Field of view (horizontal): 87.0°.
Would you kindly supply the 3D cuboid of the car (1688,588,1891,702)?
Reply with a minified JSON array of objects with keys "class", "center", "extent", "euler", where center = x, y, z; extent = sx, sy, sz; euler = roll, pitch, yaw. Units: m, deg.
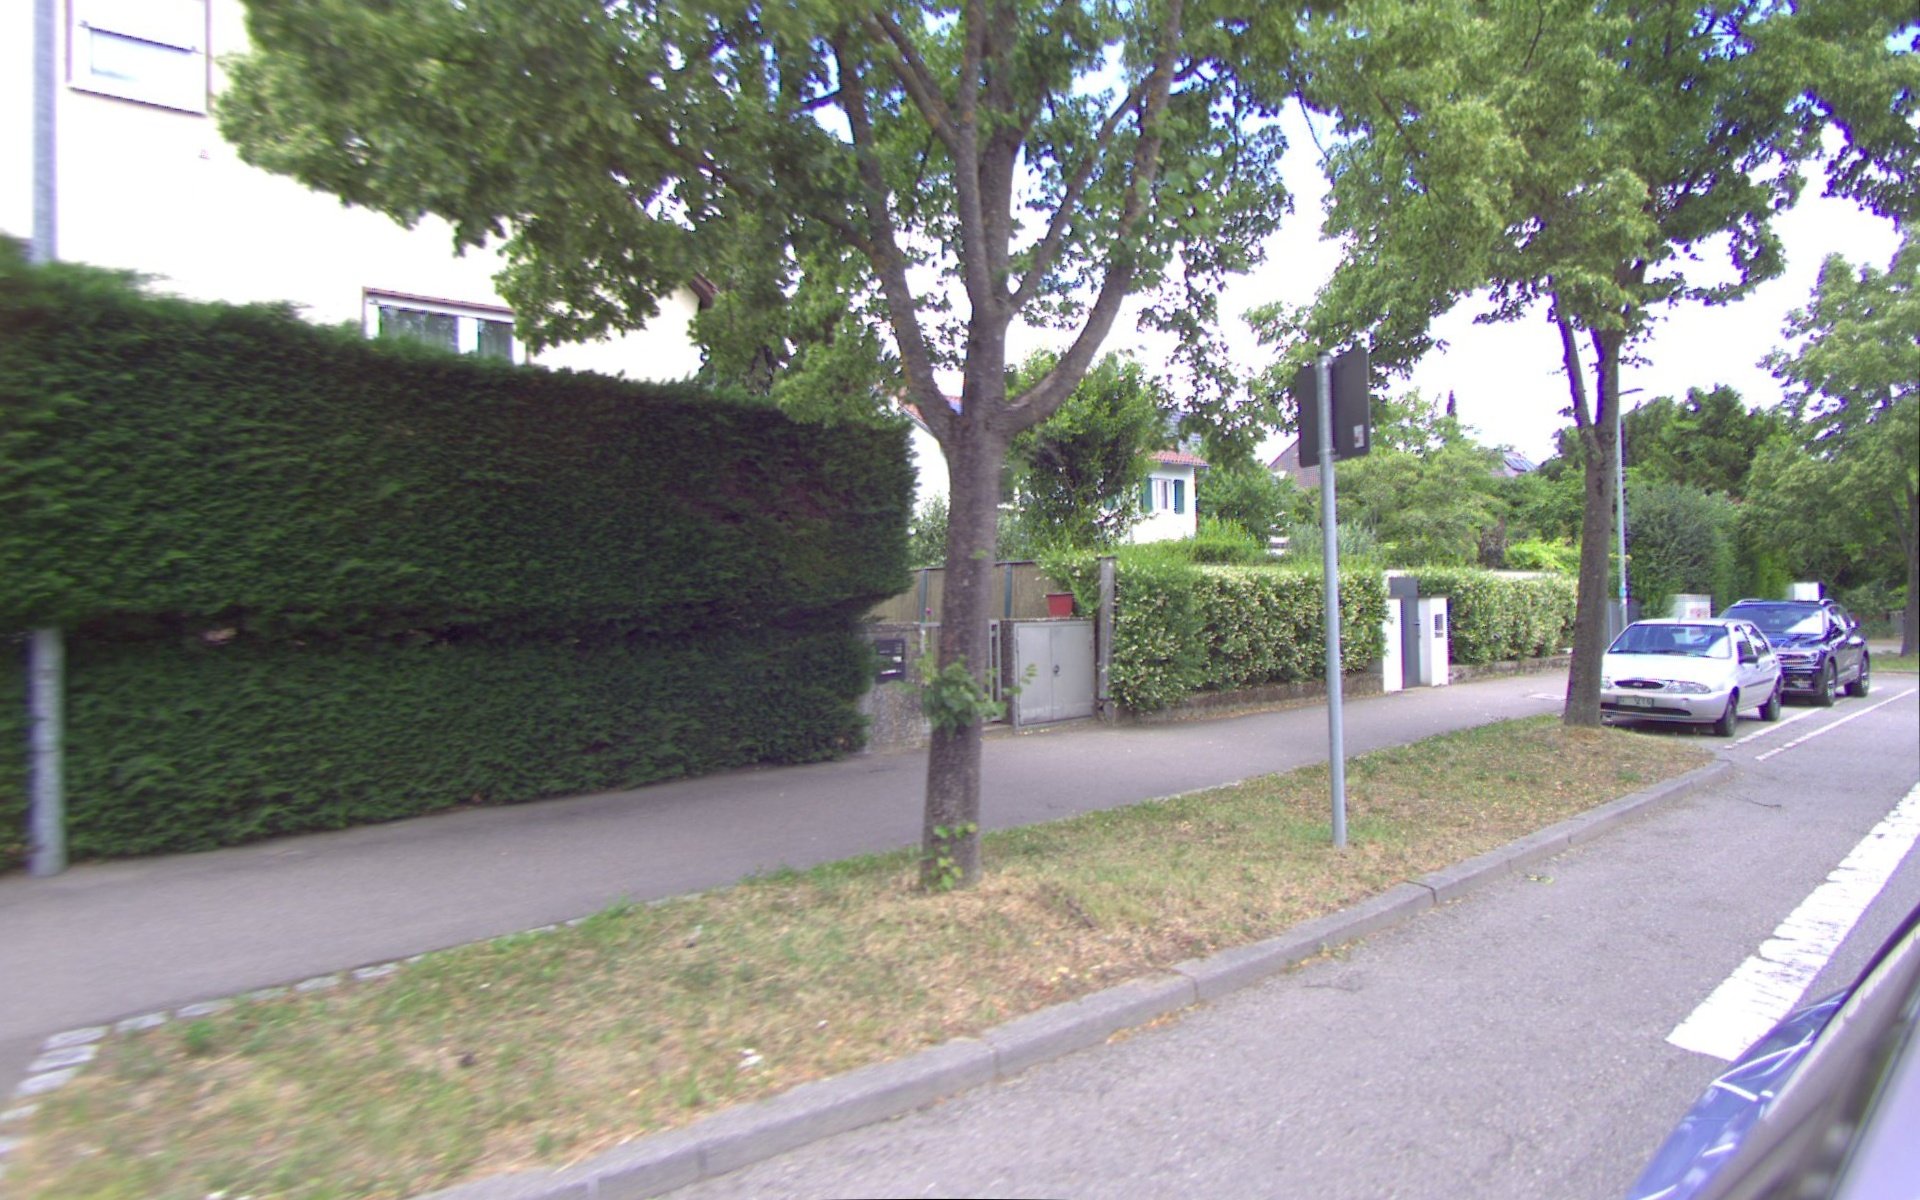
[{"class":"car","center":[13.881,0.657,16.848],"extent":[4.466,1.657,1.769],"euler":[0,0,-39]}]

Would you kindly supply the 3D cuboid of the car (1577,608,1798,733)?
[{"class":"car","center":[9.508,0.810,13.136],"extent":[3.478,1.368,1.560],"euler":[0,0,-41]}]
